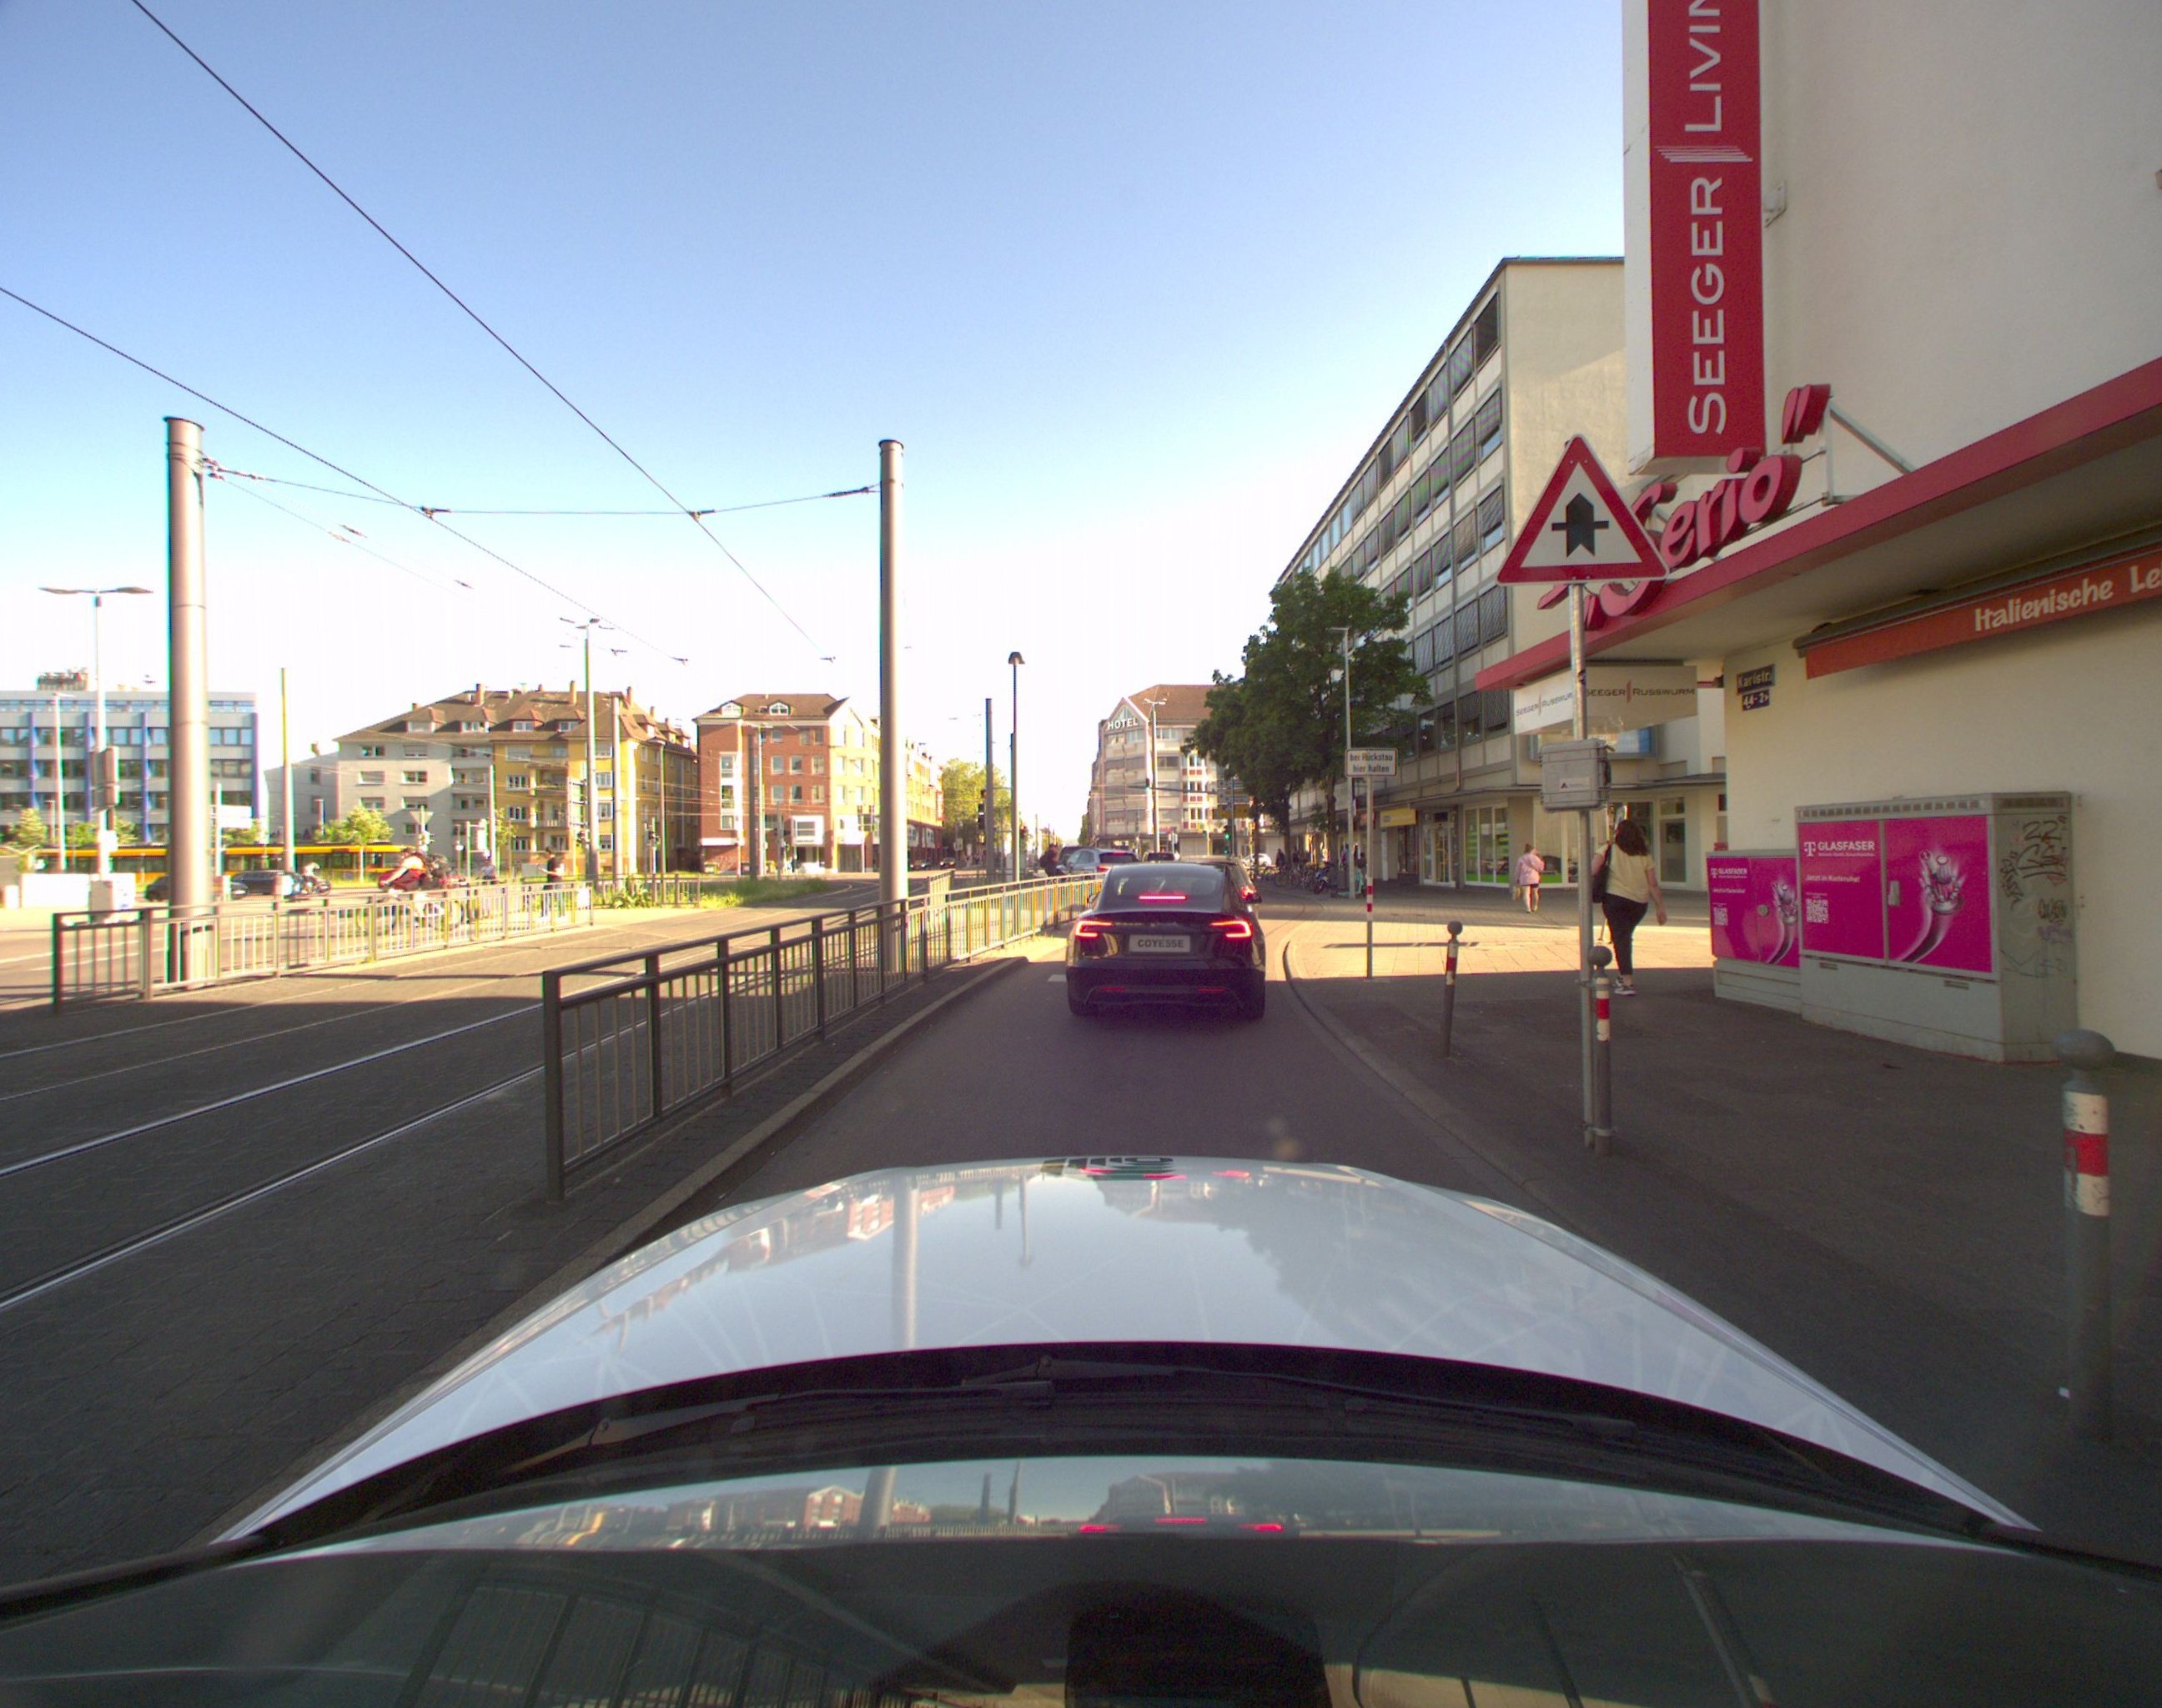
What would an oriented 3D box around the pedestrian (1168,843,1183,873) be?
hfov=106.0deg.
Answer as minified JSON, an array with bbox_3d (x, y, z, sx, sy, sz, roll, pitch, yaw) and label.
[{"bbox_3d":[6.510,0.282,56.110,0.917,2.014,0.973,0,-1,1],"label":"pedestrian"}]

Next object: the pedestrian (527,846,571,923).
[{"bbox_3d":[-11.892,0.676,18.221,0.591,1.681,0.771,0,-1,-12],"label":"pedestrian"}]

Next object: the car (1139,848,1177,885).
[{"bbox_3d":[3.859,0.637,41.210,1.593,1.778,3.981,0,-1,1],"label":"car"}]

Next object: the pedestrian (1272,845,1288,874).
[{"bbox_3d":[11.433,0.306,46.795,0.697,1.662,0.777,0,-1,1],"label":"pedestrian"}]

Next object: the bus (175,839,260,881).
[{"bbox_3d":[-66.540,0.461,62.815,3.508,3.131,2.768,0,-1,-3],"label":"bus"}]

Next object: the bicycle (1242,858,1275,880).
[{"bbox_3d":[9.251,0.788,42.399,1.643,1.099,0.350,0,-1,3],"label":"bicycle"}]

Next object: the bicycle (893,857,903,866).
[{"bbox_3d":[-22.689,0.921,100.931,0.527,1.089,2.286,3,-1,4],"label":"bicycle"}]

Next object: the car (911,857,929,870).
[{"bbox_3d":[-20.450,1.221,103.451,1.706,1.527,4.032,0,-1,-3],"label":"car"}]

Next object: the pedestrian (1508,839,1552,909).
[{"bbox_3d":[10.981,0.488,19.958,0.881,1.667,0.813,-1,-1,25],"label":"pedestrian"}]

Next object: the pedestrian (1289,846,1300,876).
[{"bbox_3d":[12.314,0.407,46.942,0.523,1.710,0.404,0,-1,4],"label":"pedestrian"}]

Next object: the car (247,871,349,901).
[{"bbox_3d":[-45.487,1.840,47.381,3.984,1.672,1.772,0,-1,-8],"label":"car"}]

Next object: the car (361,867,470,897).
[{"bbox_3d":[-39.450,1.655,48.376,4.585,1.700,1.993,0,-1,-10],"label":"car"}]

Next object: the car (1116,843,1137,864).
[{"bbox_3d":[3.885,0.008,69.923,1.713,1.751,3.755,0,-1,2],"label":"car"}]

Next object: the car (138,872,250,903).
[{"bbox_3d":[-50.617,1.880,46.562,3.952,1.685,1.903,0,-1,-11],"label":"car"}]

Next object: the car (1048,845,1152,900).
[{"bbox_3d":[0.525,0.570,26.650,1.891,1.662,4.126,0,-1,-23],"label":"car"}]

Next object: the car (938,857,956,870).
[{"bbox_3d":[-17.510,1.239,106.601,1.692,1.731,3.706,0,-1,0],"label":"car"}]

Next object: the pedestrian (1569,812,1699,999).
[{"bbox_3d":[5.568,0.483,8.281,0.906,1.752,1.044,-1,0,25],"label":"pedestrian"}]

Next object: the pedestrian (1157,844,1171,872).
[{"bbox_3d":[6.031,0.280,59.448,0.917,2.014,0.973,0,-1,1],"label":"pedestrian"}]

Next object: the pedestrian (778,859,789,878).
[{"bbox_3d":[-30.060,1.461,82.233,0.780,1.820,0.747,0,-1,3],"label":"pedestrian"}]

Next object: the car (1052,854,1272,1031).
[{"bbox_3d":[0.906,0.751,8.810,1.820,1.455,4.007,0,-1,7],"label":"car"}]

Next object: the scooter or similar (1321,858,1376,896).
[{"bbox_3d":[8.906,0.761,27.105,1.625,1.215,0.649,-1,-1,32],"label":"scooter or similar"}]

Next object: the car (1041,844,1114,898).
[{"bbox_3d":[-0.208,0.663,32.769,1.997,2.014,3.980,-1,0,-15],"label":"car"}]

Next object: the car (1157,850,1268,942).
[{"bbox_3d":[2.384,0.666,14.966,1.741,1.454,4.009,-1,0,8],"label":"car"}]

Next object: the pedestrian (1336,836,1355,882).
[{"bbox_3d":[11.651,0.233,35.862,0.659,2.014,0.580,0,-1,4],"label":"pedestrian"}]

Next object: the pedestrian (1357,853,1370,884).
[{"bbox_3d":[12.349,0.617,35.613,0.388,1.343,0.513,0,-1,4],"label":"pedestrian"}]

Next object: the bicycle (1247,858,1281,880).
[{"bbox_3d":[9.270,0.758,41.304,1.643,1.099,0.350,-1,0,3],"label":"bicycle"}]

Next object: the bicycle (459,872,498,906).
[{"bbox_3d":[-22.820,1.325,30.883,0.484,1.222,1.846,0,-1,-13],"label":"bicycle"}]

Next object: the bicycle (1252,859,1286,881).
[{"bbox_3d":[9.288,0.796,40.256,1.643,1.099,0.350,0,-1,3],"label":"bicycle"}]

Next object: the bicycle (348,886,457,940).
[{"bbox_3d":[-13.438,1.160,16.180,1.607,0.994,0.400,0,-1,-30],"label":"bicycle"}]

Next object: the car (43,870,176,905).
[{"bbox_3d":[-45.620,1.542,38.323,3.850,1.526,1.641,0,-1,-8],"label":"car"}]
